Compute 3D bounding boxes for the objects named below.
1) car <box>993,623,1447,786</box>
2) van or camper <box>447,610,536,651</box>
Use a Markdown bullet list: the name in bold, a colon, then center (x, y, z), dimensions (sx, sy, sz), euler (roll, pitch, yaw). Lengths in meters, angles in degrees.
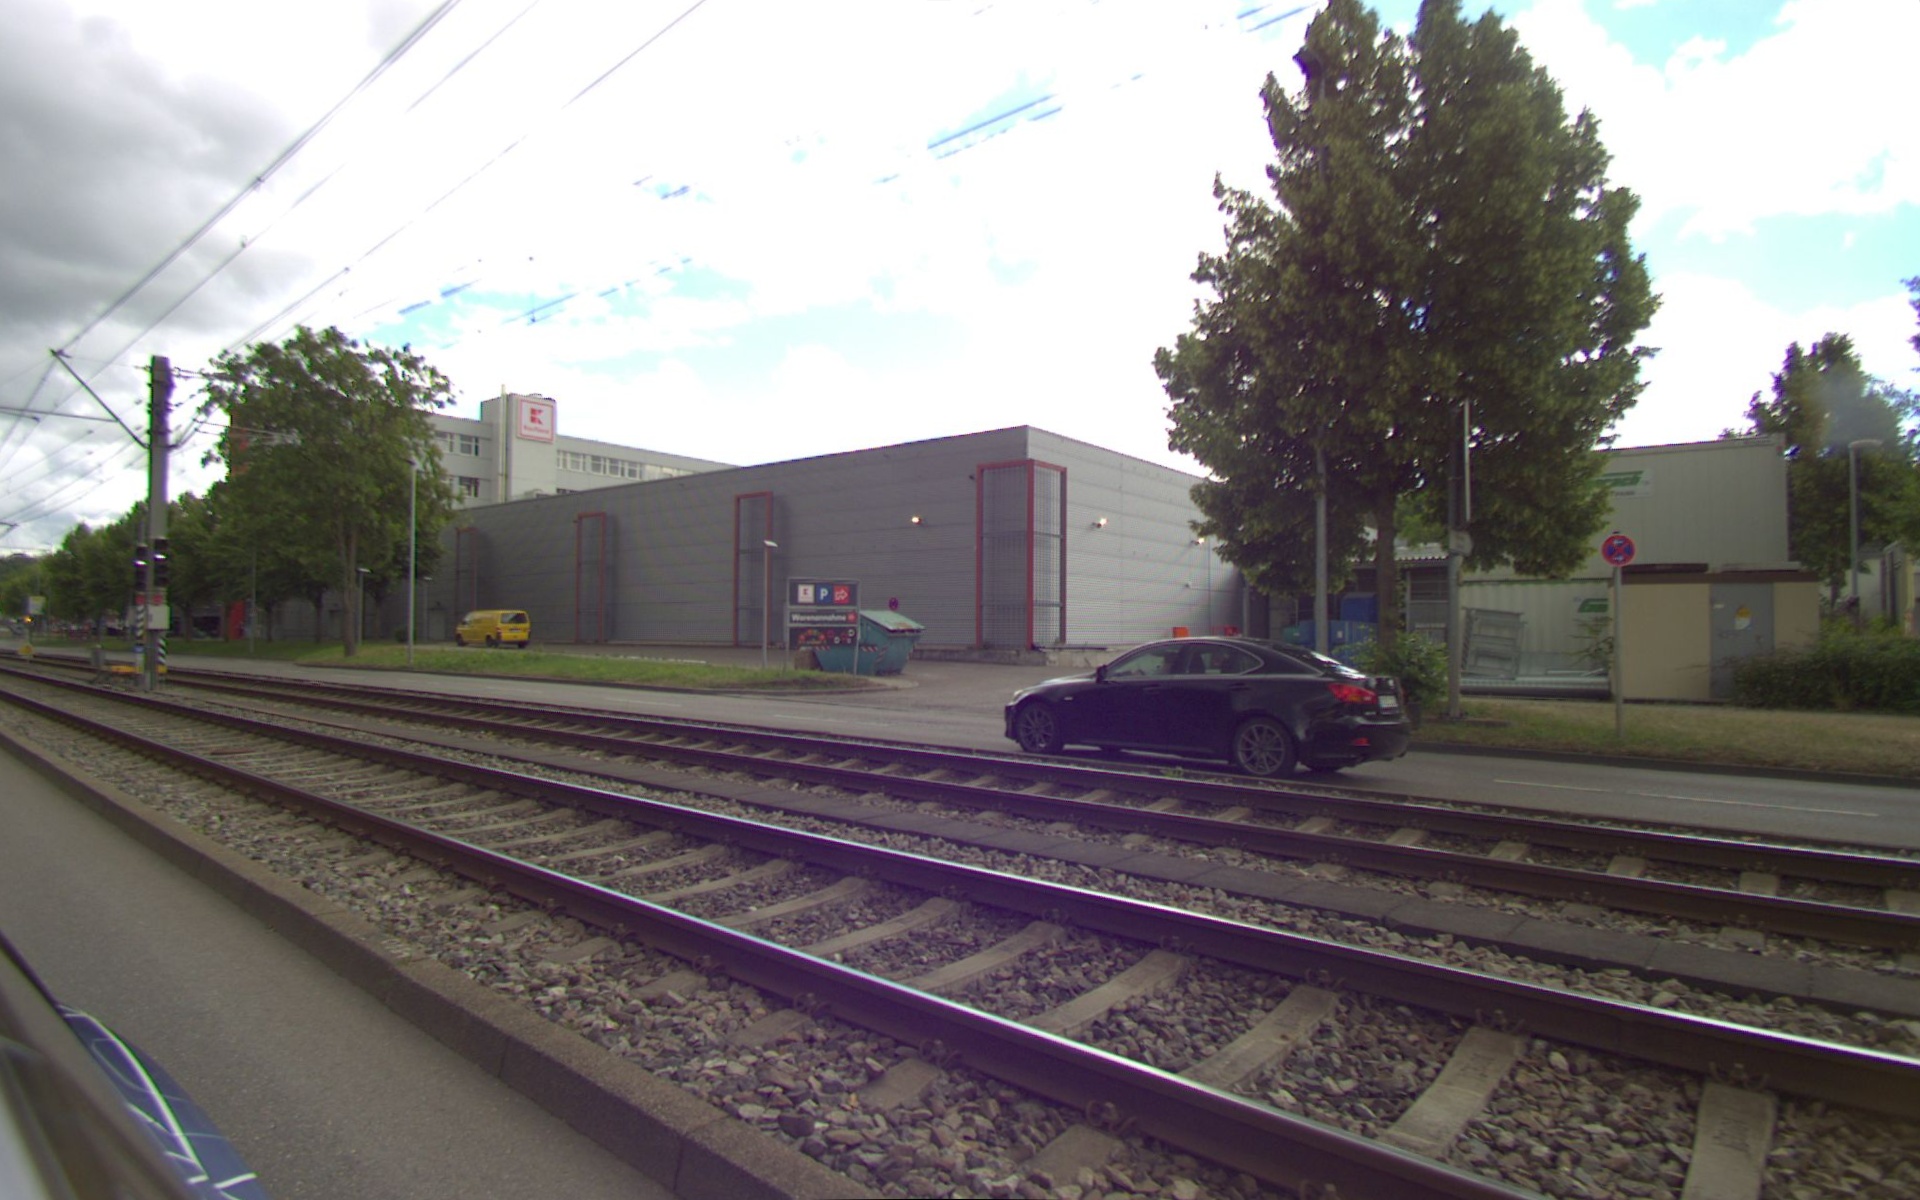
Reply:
- **car**: center (2.643, 1.012, 10.937), dimensions (4.440, 1.412, 1.741), euler (-2, -5, 41)
- **van or camper**: center (-24.563, 1.586, 53.015), dimensions (5.235, 2.029, 2.083), euler (-2, -2, 38)
